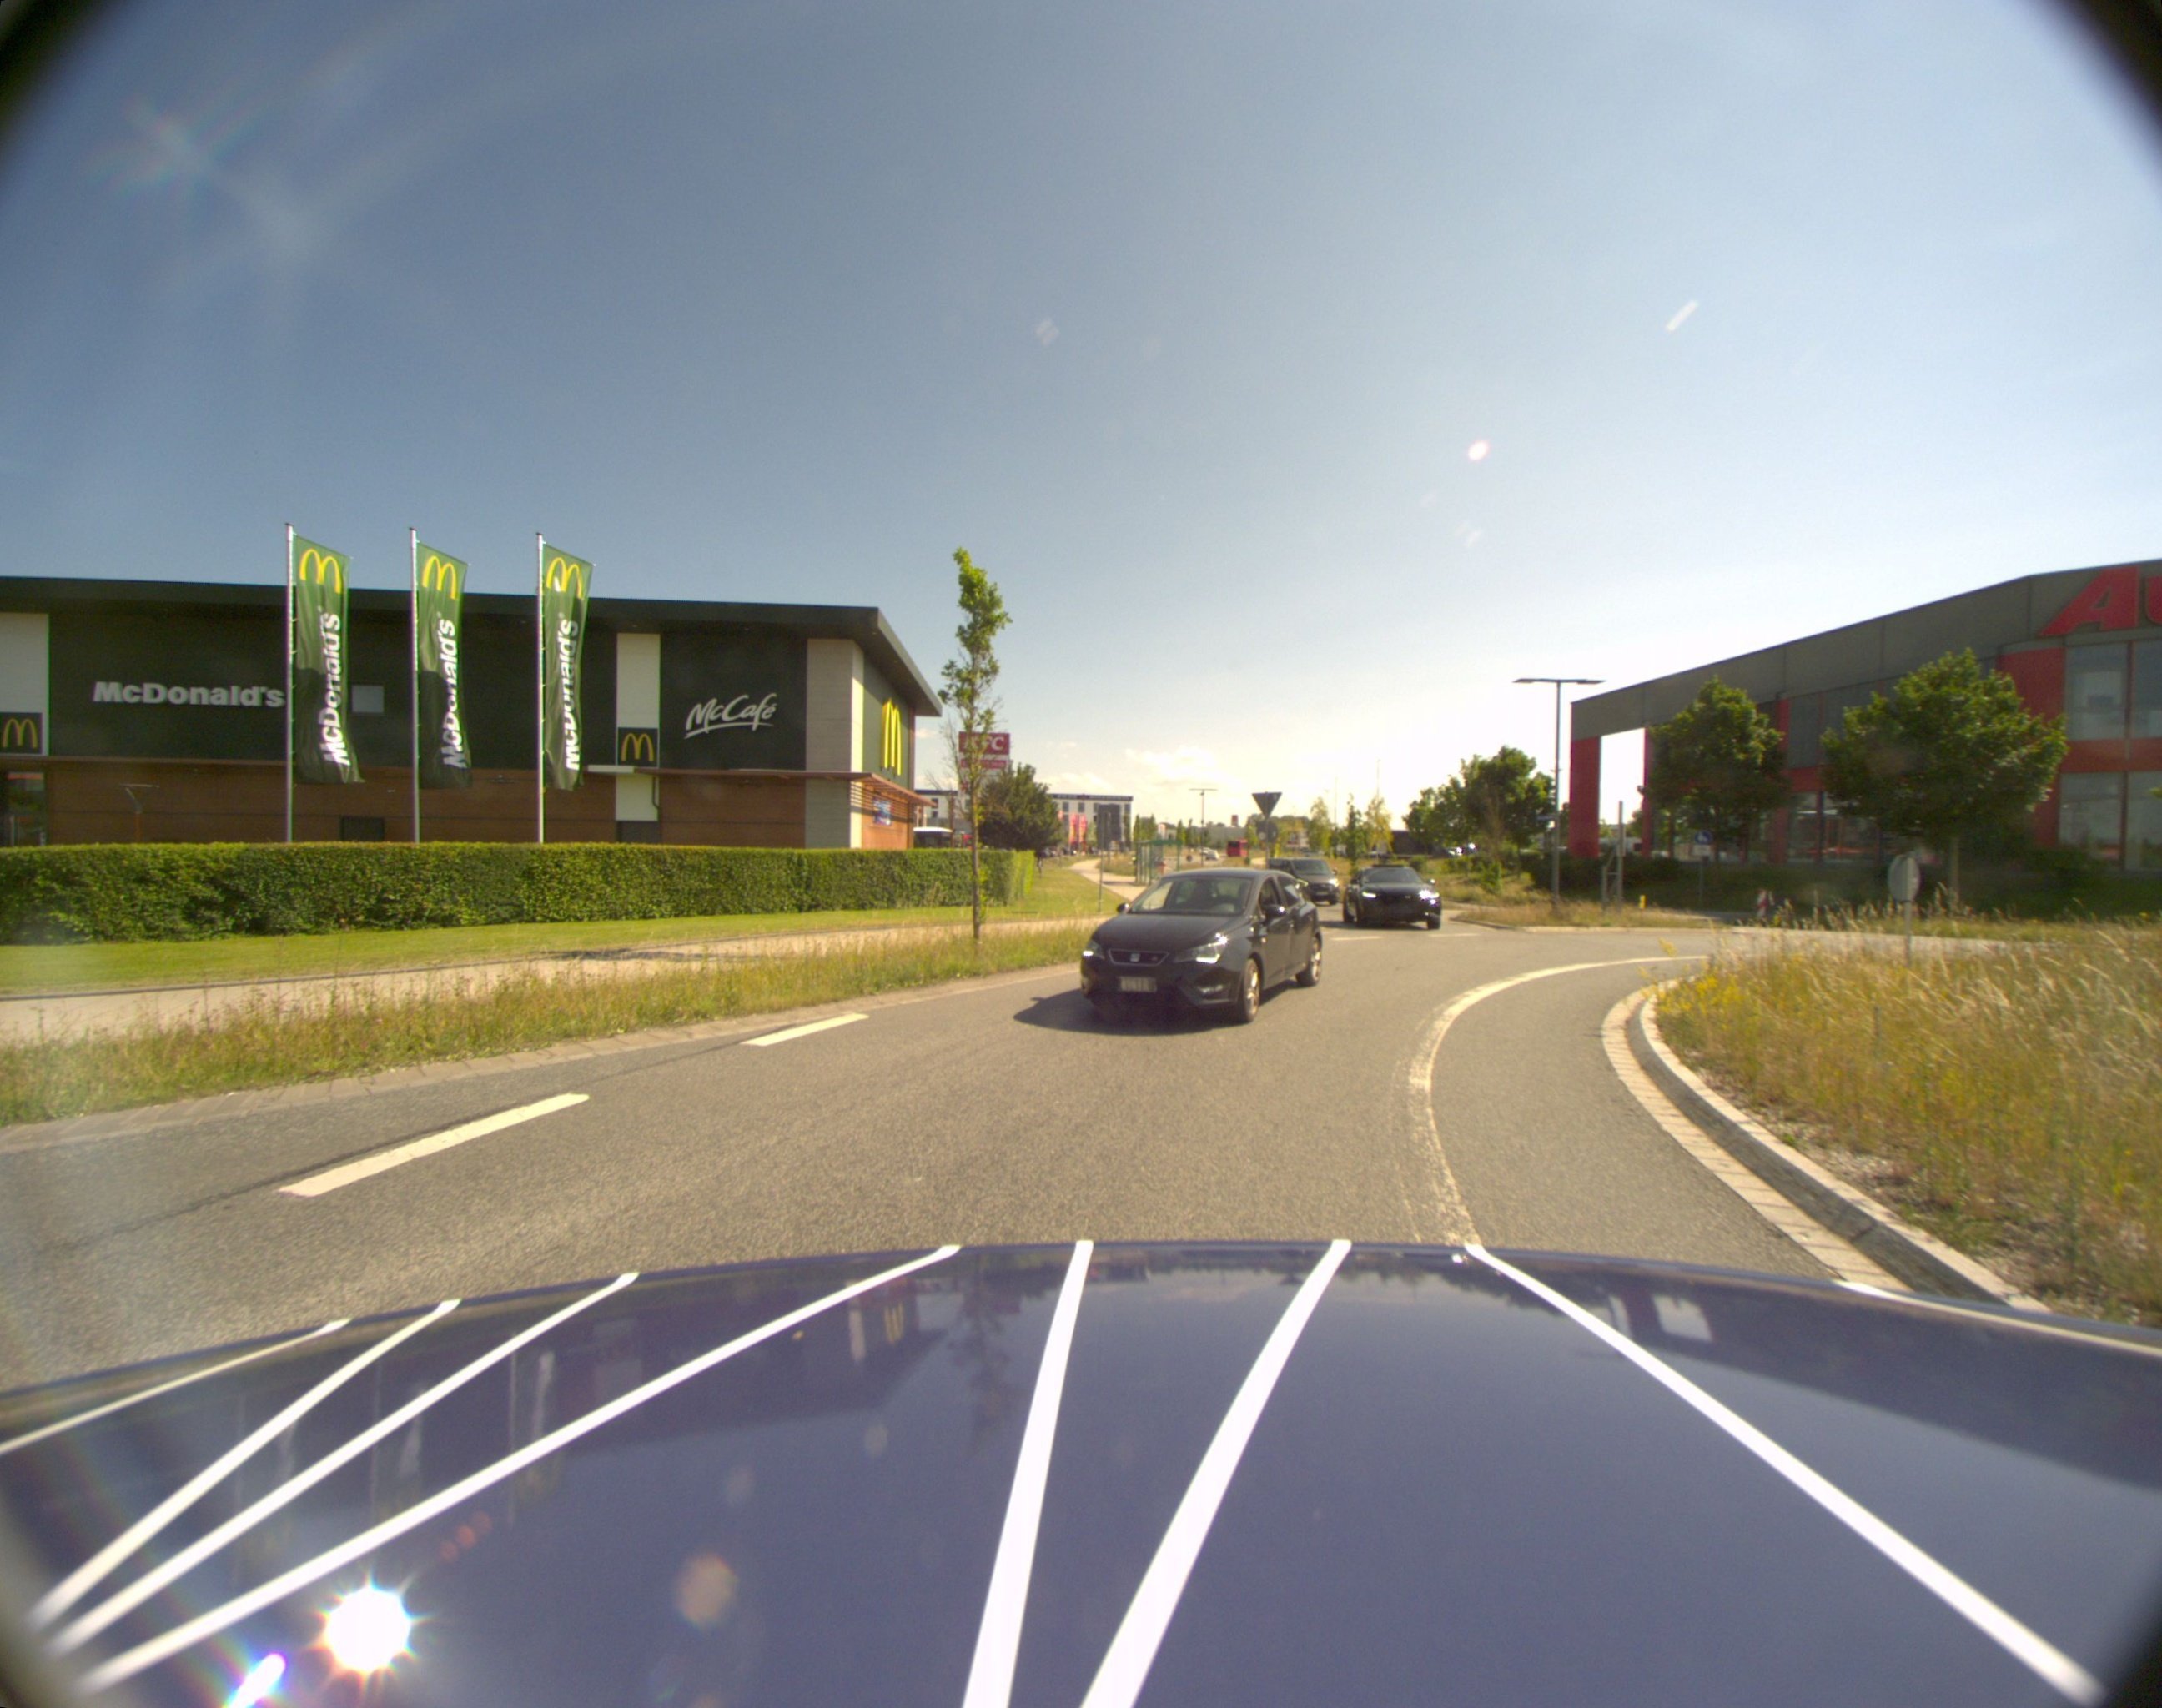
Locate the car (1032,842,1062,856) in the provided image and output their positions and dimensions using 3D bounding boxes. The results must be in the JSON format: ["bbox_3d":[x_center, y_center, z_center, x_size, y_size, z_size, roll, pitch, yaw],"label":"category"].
[{"bbox_3d":[-5.255,-0.808,117.643,4.181,2.002,1.934,1,1,8],"label":"car"}]

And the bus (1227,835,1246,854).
[{"bbox_3d":[28.452,-1.758,138.276,2.612,3.223,11.894,1,1,15],"label":"bus"}]

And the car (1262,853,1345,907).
[{"bbox_3d":[9.580,1.064,33.146,2.079,2.037,4.681,-2,1,-2],"label":"car"}]

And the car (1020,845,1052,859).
[{"bbox_3d":[-6.550,-0.293,110.252,4.180,2.002,1.935,1,1,10],"label":"car"}]

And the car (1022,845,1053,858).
[{"bbox_3d":[-6.412,-0.383,112.656,4.179,1.847,1.805,1,1,14],"label":"car"}]

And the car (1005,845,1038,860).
[{"bbox_3d":[-8.096,-0.183,103.344,4.180,2.002,1.935,1,1,11],"label":"car"}]

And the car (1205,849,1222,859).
[{"bbox_3d":[19.449,-0.021,111.391,1.793,1.408,4.387,1,1,17],"label":"car"}]

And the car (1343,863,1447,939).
[{"bbox_3d":[8.338,1.177,20.536,1.860,1.679,4.003,-1,1,12],"label":"car"}]

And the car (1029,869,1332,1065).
[{"bbox_3d":[1.341,0.968,8.384,1.858,1.460,4.008,1,1,31],"label":"car"}]

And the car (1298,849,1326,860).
[{"bbox_3d":[36.546,0.084,120.403,3.935,1.667,1.622,2,1,29],"label":"car"}]

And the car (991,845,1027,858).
[{"bbox_3d":[-9.368,-0.321,98.801,4.439,1.643,1.933,1,1,3],"label":"car"}]
